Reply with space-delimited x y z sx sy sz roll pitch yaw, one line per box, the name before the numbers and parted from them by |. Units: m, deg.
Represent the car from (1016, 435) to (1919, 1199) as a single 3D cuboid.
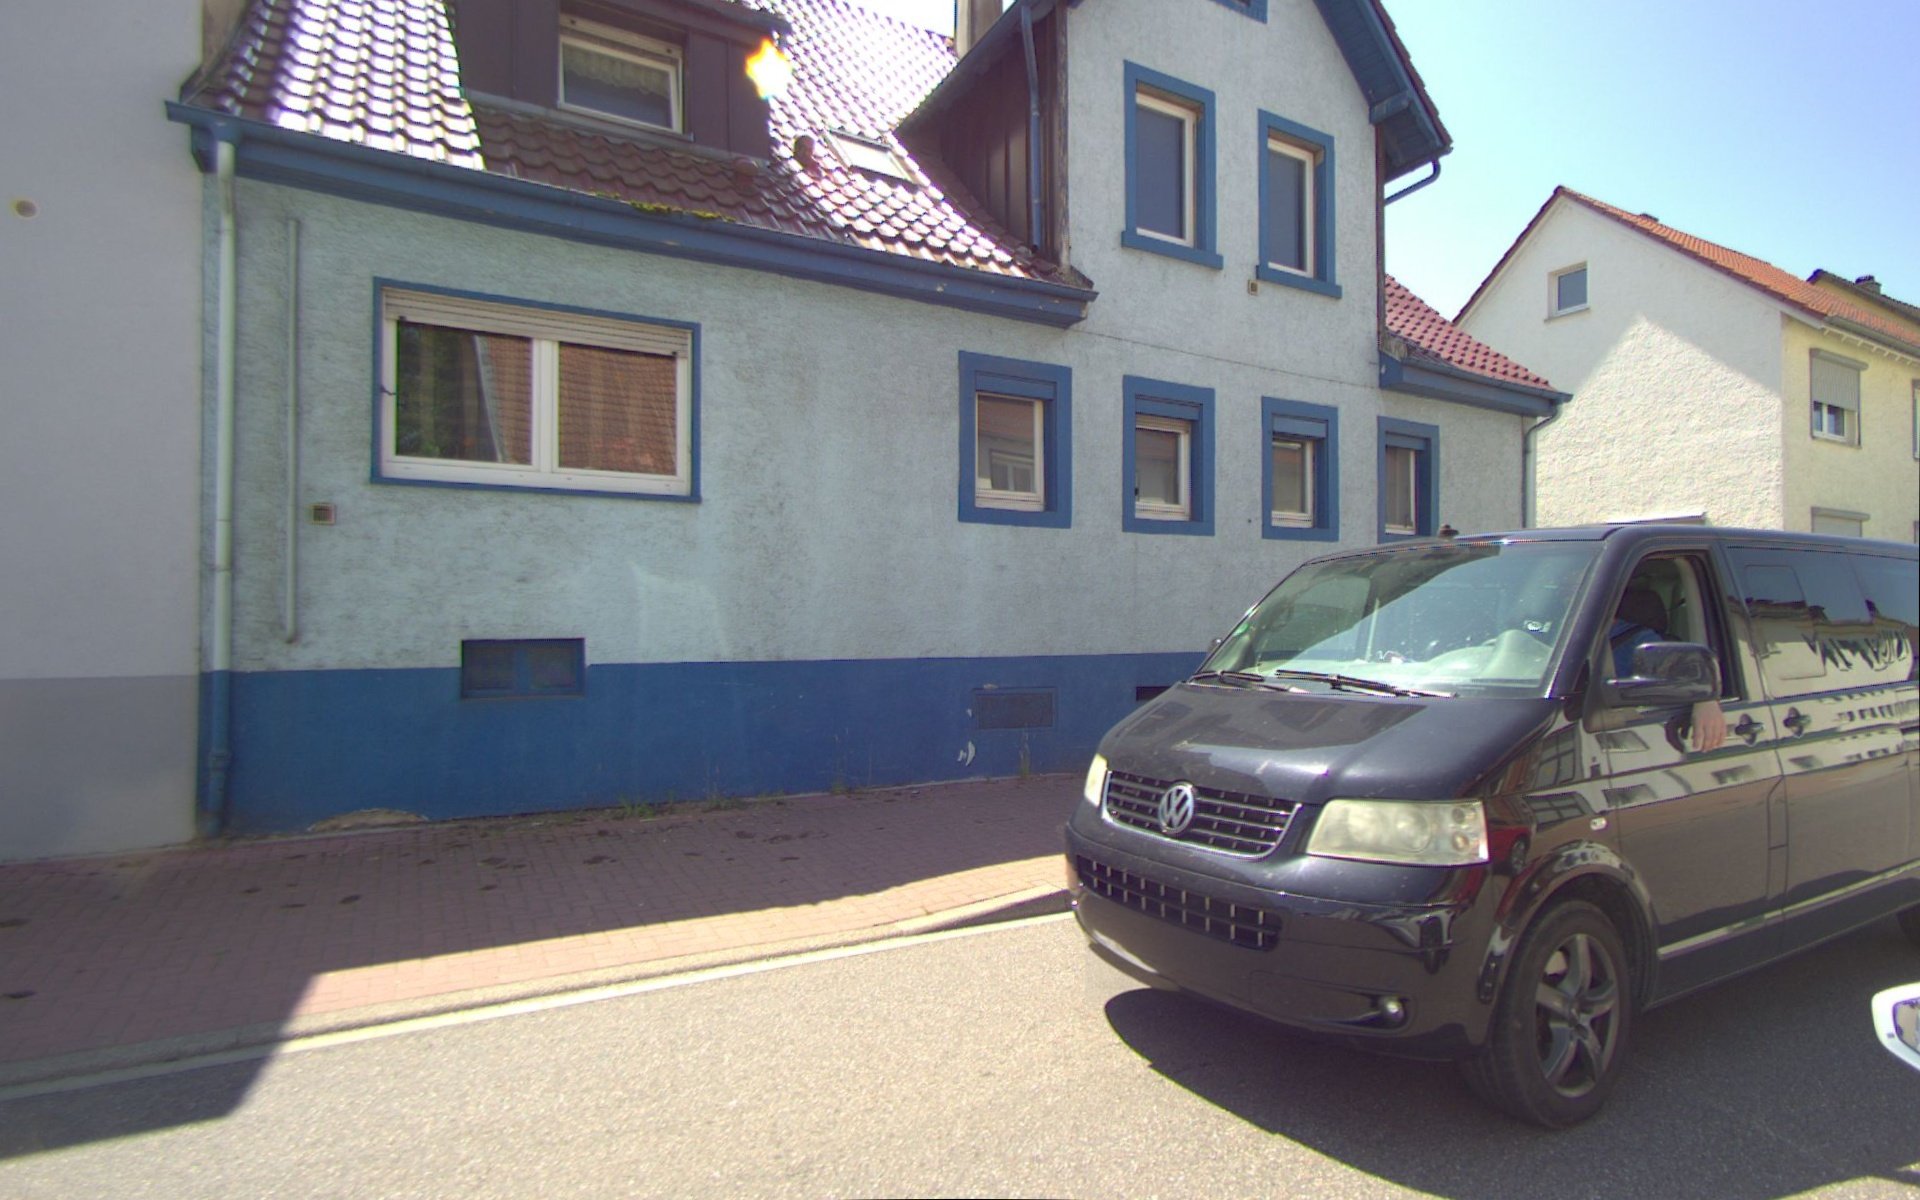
car | 2.873 0.640 4.634 5.058 1.969 1.872 1 -2 -31
